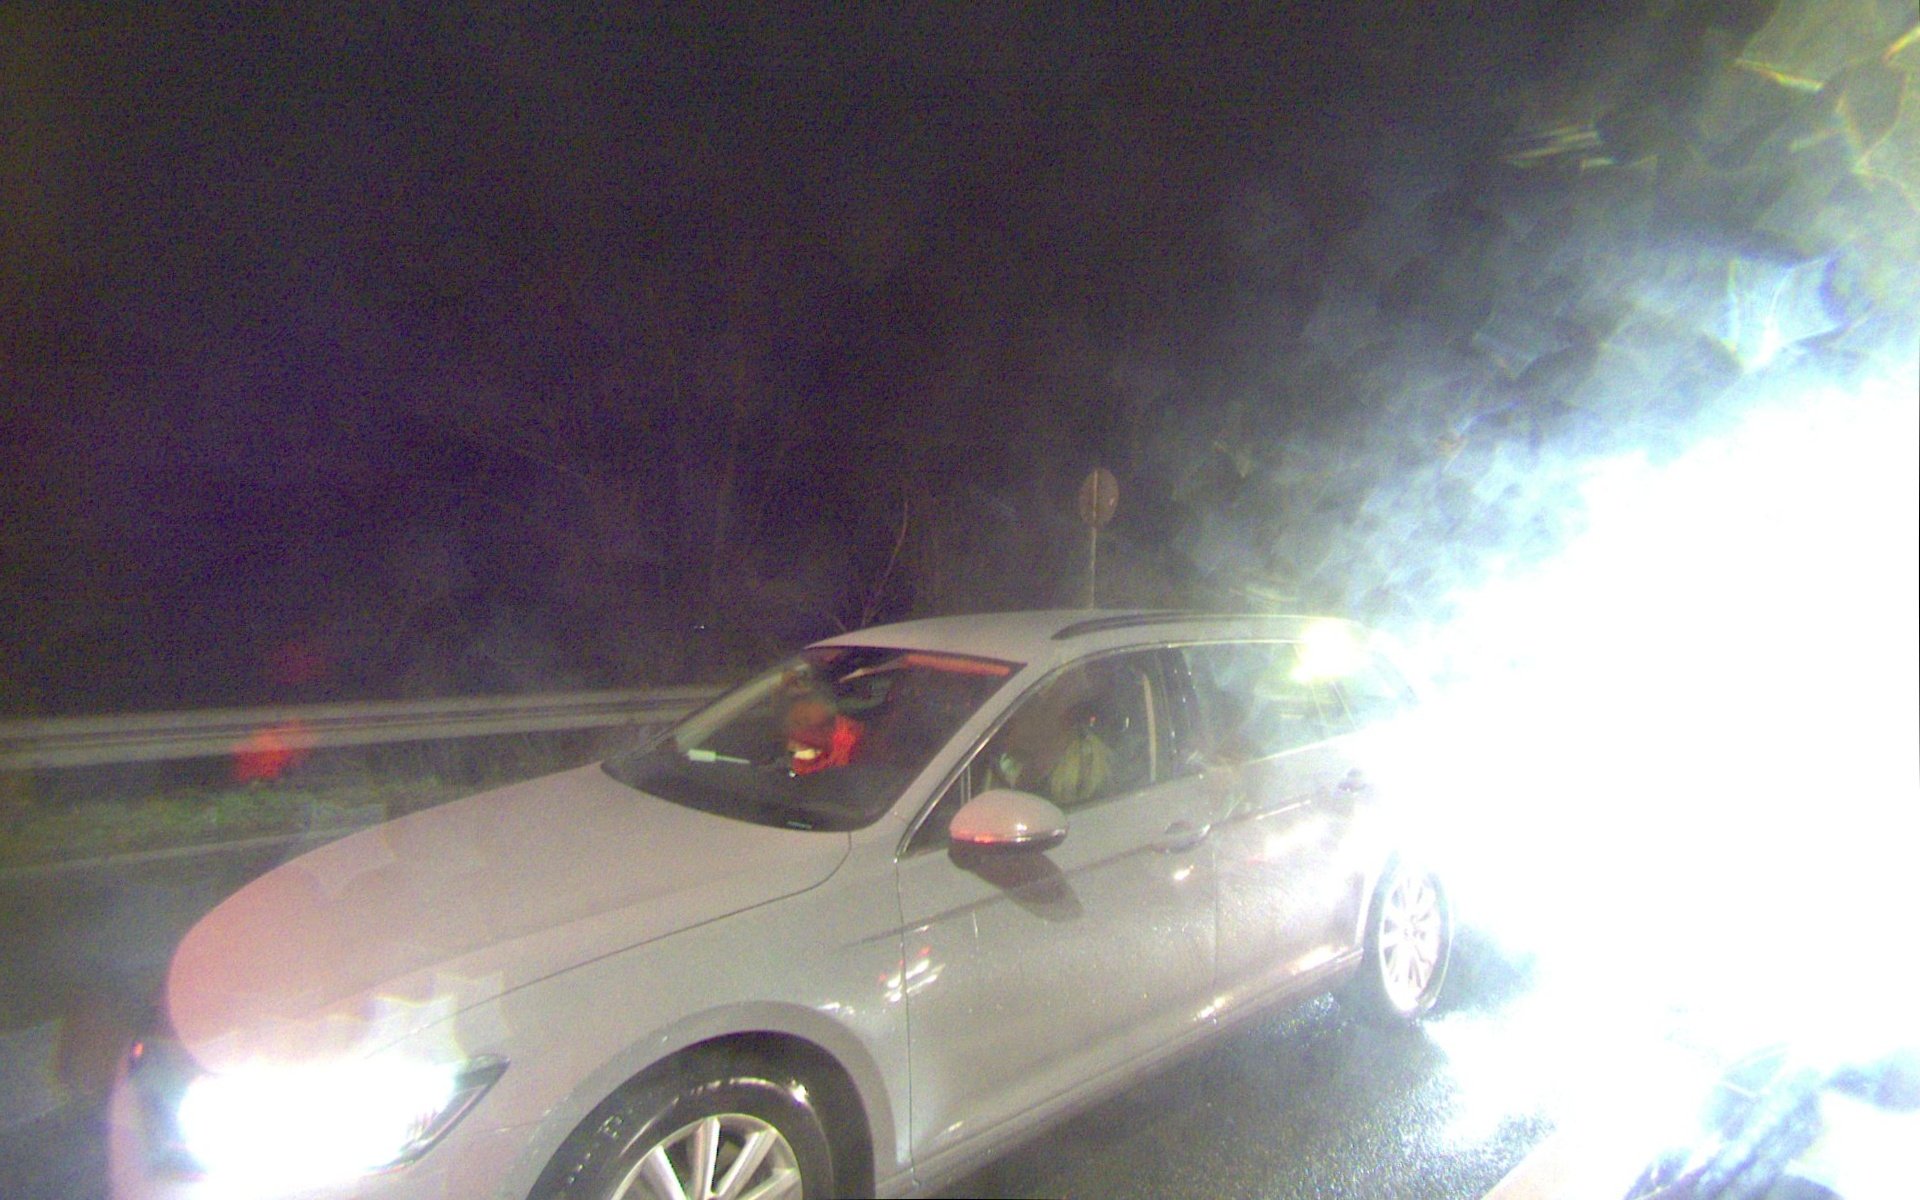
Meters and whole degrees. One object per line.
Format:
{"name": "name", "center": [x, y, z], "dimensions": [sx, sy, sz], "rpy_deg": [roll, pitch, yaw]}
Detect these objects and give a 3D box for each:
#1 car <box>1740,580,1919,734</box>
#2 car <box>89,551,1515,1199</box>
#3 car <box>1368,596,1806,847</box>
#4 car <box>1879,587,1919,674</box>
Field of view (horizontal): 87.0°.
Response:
{"name": "car", "center": [11.469, 0.582, 12.568], "dimensions": [4.315, 1.618, 1.997], "rpy_deg": [-1, 2, -41]}
{"name": "car", "center": [0.028, 0.684, 3.324], "dimensions": [4.336, 1.541, 1.710], "rpy_deg": [-1, 0, -40]}
{"name": "car", "center": [5.031, 0.703, 7.898], "dimensions": [4.067, 1.435, 1.742], "rpy_deg": [-1, 0, -40]}
{"name": "car", "center": [19.921, 0.564, 20.072], "dimensions": [4.315, 1.618, 1.997], "rpy_deg": [-1, 2, -41]}
